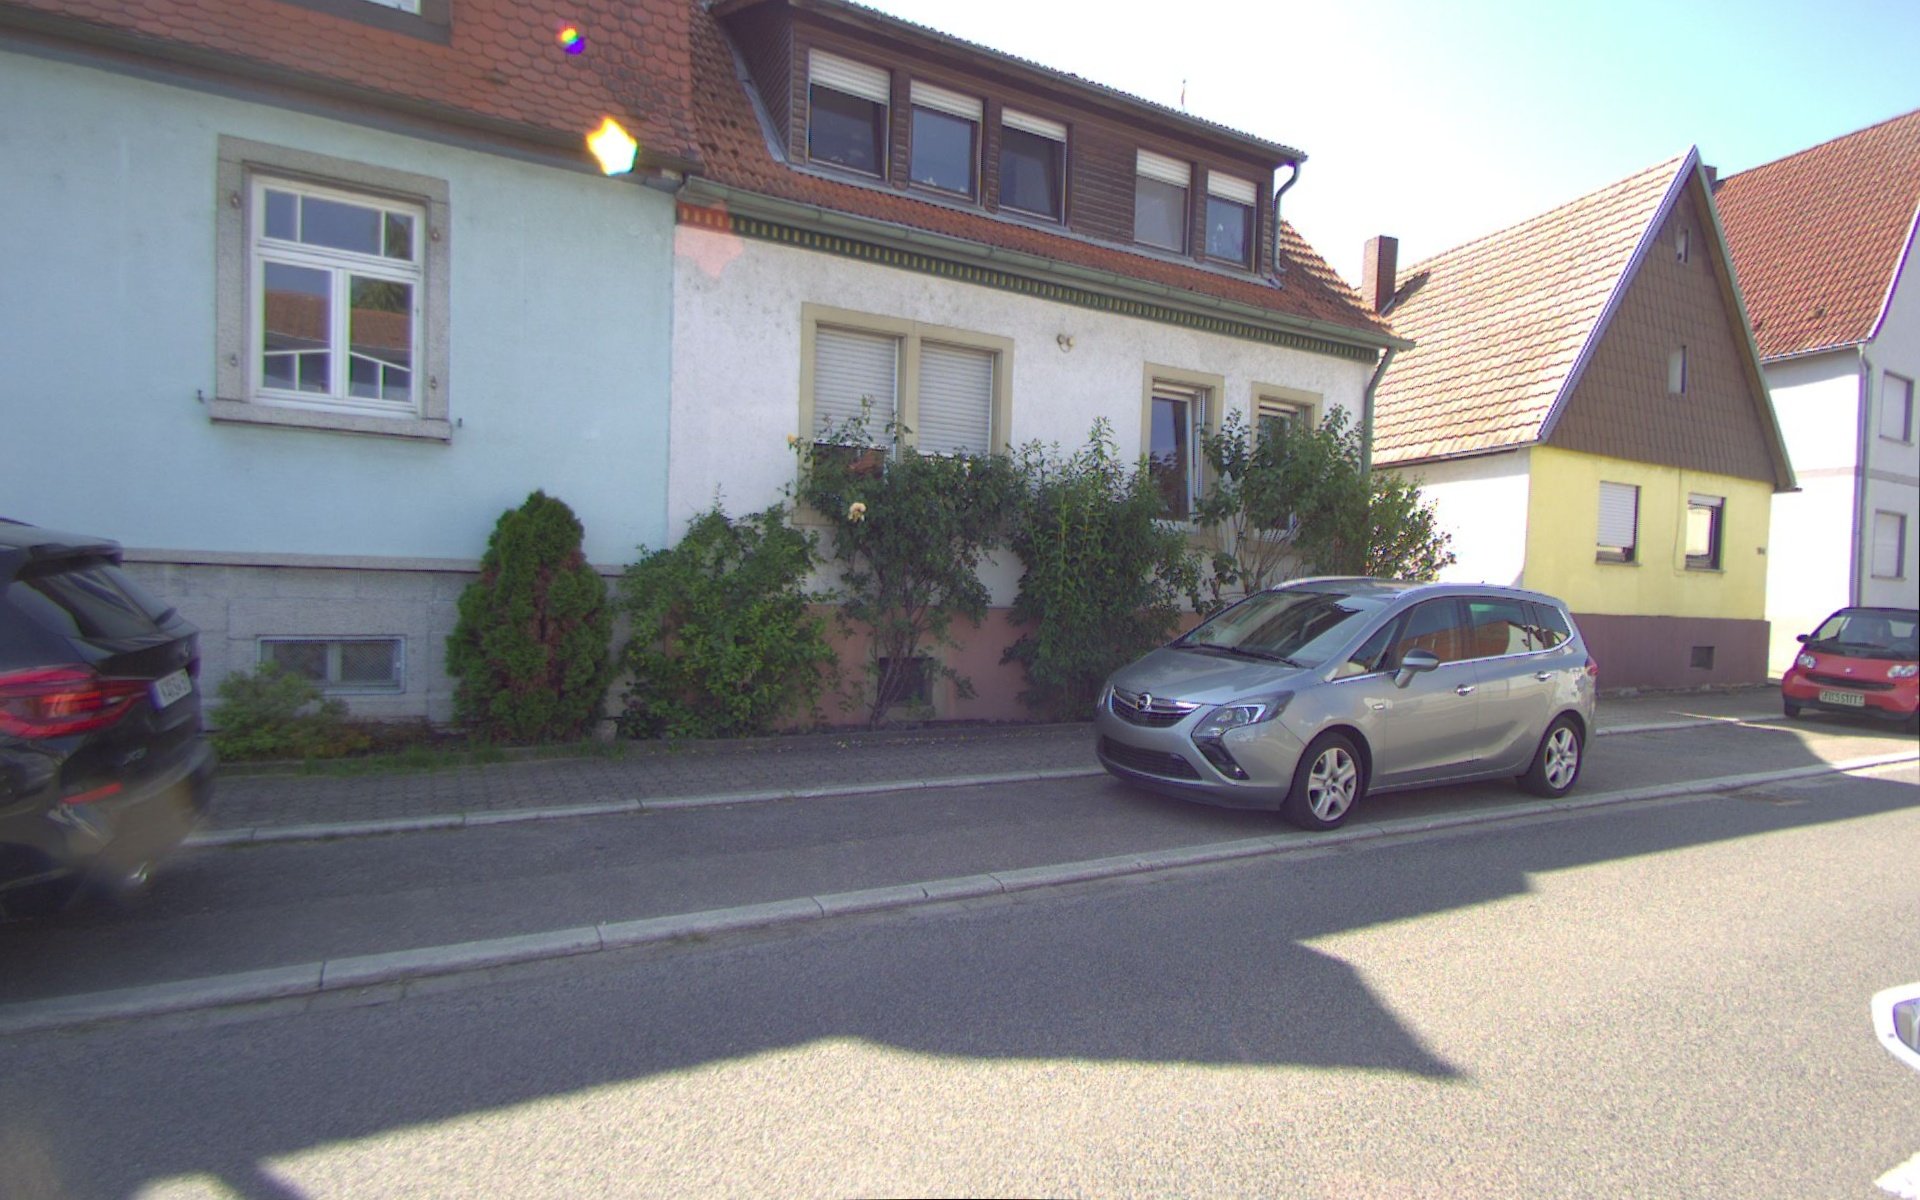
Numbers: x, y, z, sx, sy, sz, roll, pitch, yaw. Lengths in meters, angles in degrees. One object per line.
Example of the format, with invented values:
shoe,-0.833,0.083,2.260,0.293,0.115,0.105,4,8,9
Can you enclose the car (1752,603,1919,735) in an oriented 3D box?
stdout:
car,12.527,0.888,13.776,2.951,1.565,1.545,2,2,-29

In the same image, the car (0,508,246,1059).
car,-5.103,0.457,2.976,4.607,1.690,1.912,2,3,-28

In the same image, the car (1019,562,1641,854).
car,2.918,0.647,7.697,4.606,1.659,1.865,2,2,-29
